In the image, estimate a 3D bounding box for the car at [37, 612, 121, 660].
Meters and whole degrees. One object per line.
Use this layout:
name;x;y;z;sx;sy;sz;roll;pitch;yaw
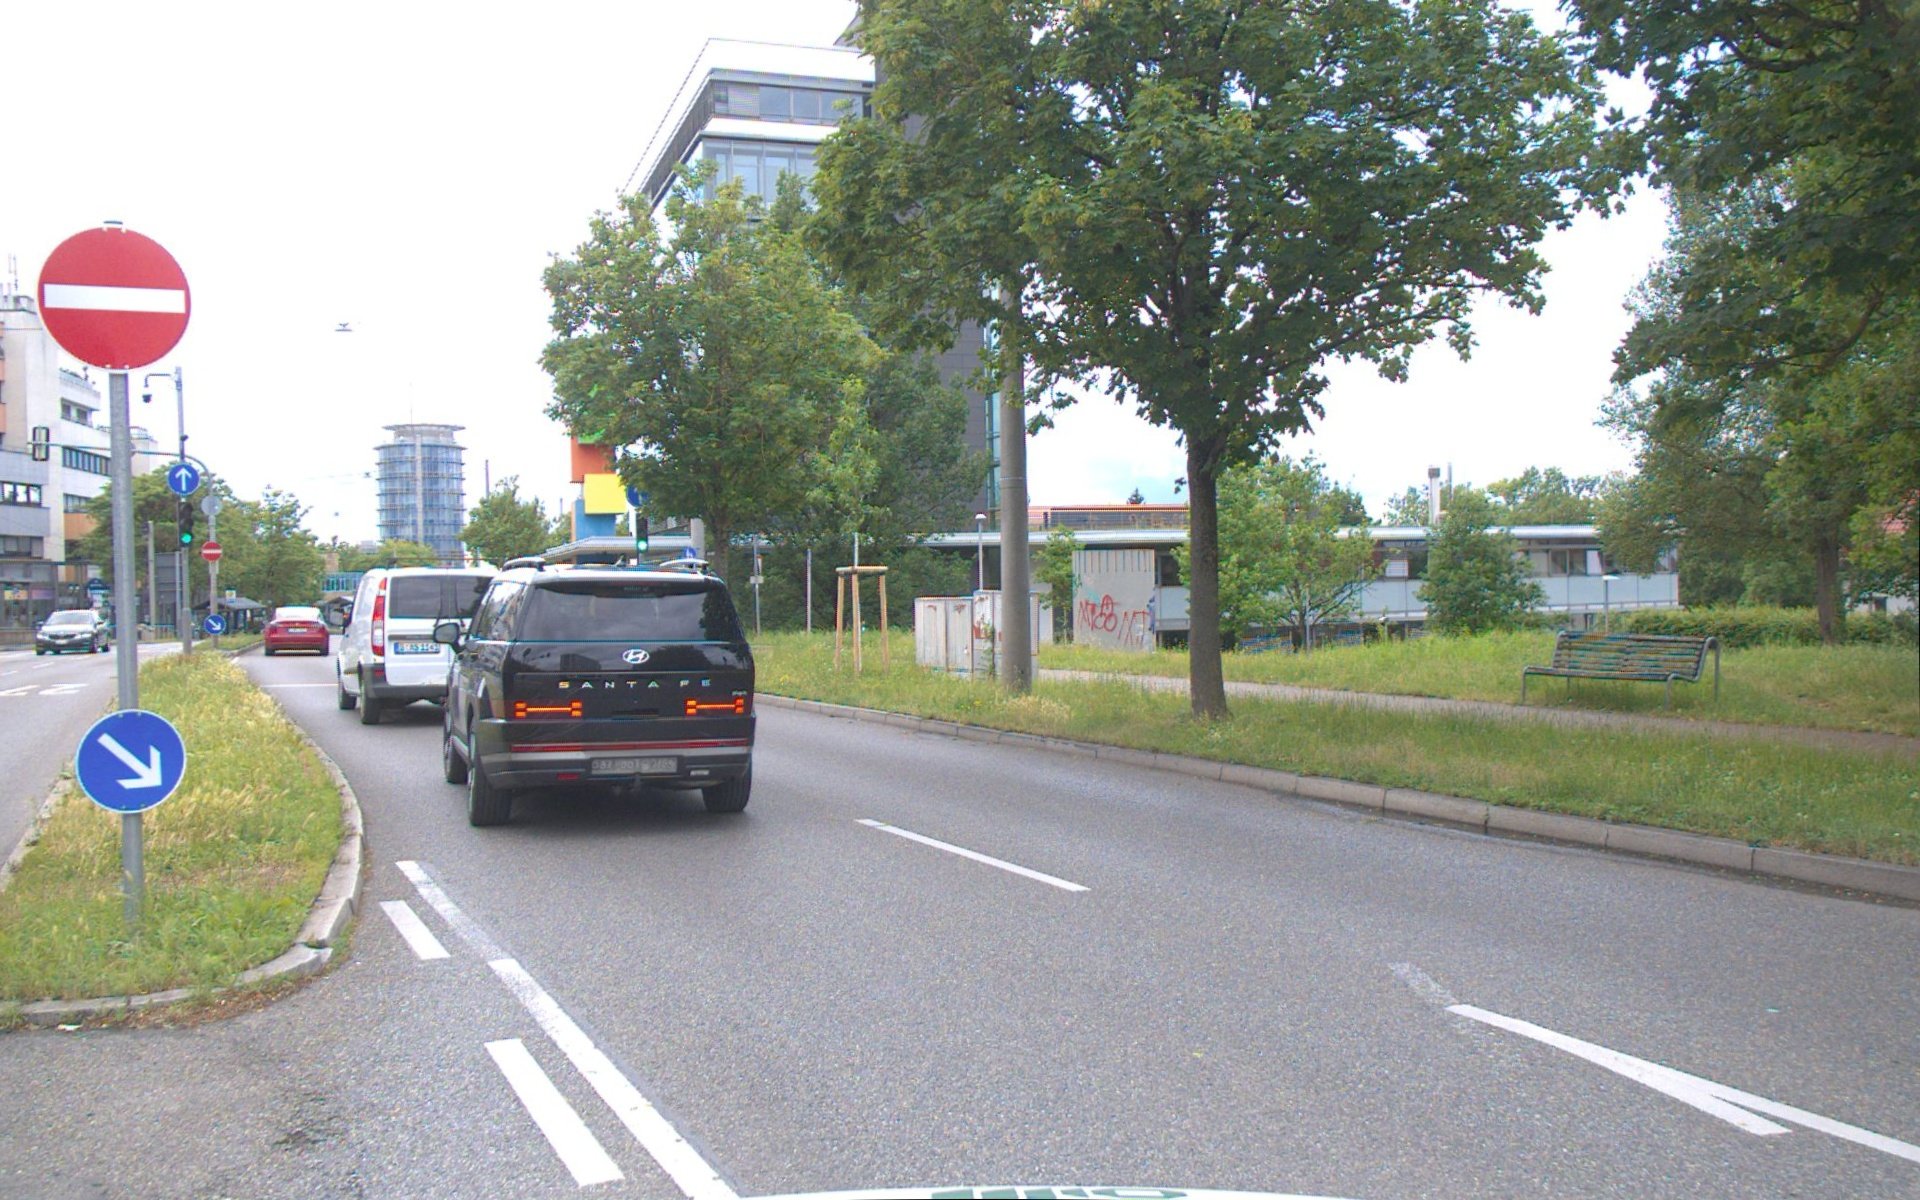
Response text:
car;-29.611;1.188;55.715;1.771;1.480;4.586;-2;0;-19

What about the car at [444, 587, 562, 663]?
car;-10.253;0.500;36.884;1.877;1.569;4.674;0;0;-24

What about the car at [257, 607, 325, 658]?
car;-20.682;0.972;51.054;1.848;1.443;4.410;0;0;-23

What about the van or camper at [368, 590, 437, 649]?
van or camper;-19.996;0.664;59.247;1.967;1.951;4.376;-1;1;-24

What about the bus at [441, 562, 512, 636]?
bus;-22.914;-0.032;78.362;2.919;3.170;9.200;-3;0;-17

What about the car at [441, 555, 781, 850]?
car;-2.777;0.593;12.303;1.874;1.762;4.420;0;0;-20

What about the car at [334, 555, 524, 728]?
car;-7.064;0.465;21.700;1.877;2.003;4.600;0;0;-24

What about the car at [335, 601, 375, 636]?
car;-33.554;0.996;91.767;1.873;1.891;4.685;0;0;-18
